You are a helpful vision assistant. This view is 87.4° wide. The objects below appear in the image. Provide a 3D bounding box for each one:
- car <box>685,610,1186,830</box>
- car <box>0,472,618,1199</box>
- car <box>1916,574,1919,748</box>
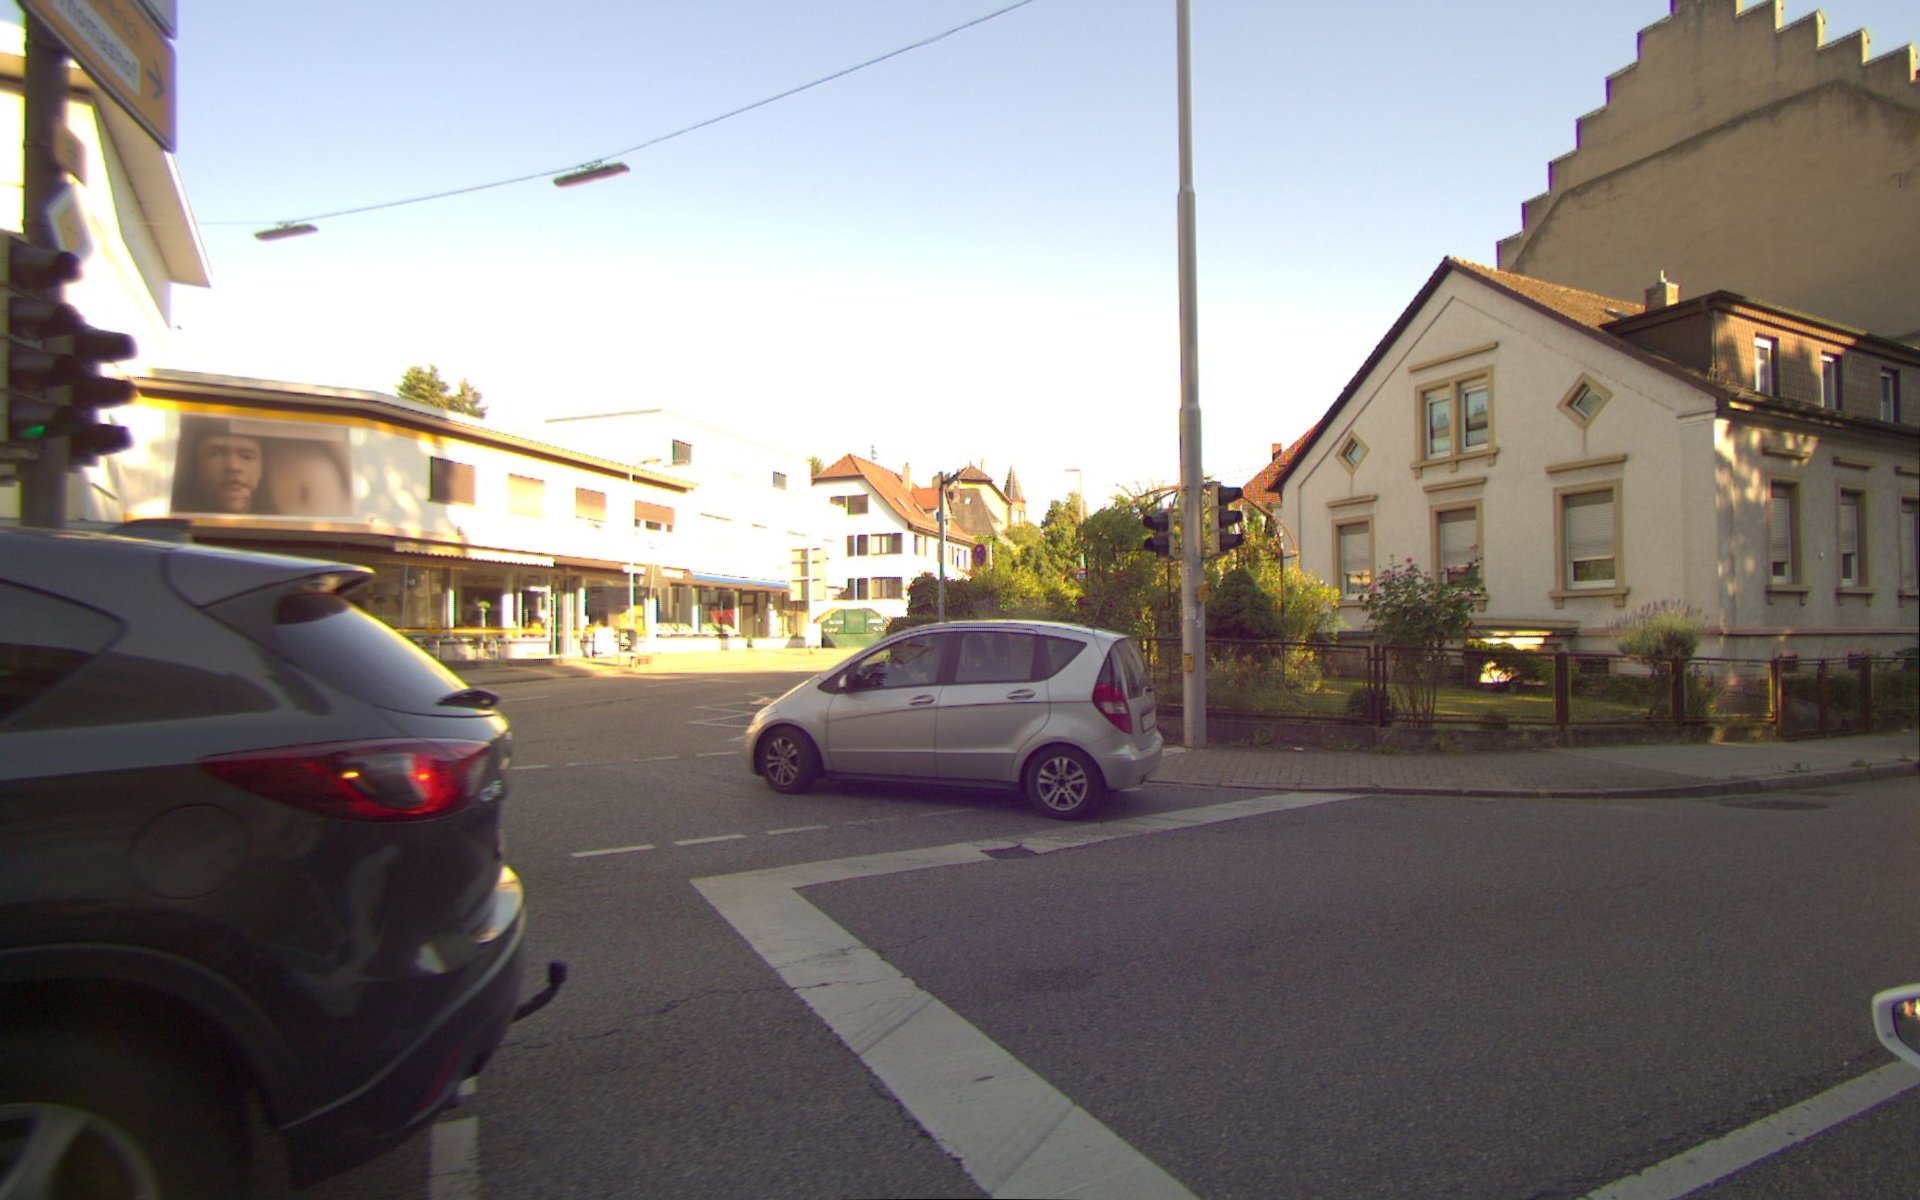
[{"bbox_3d":[-0.165,0.942,9.247,4.198,1.670,1.960,-1,-1,19],"label":"car"},{"bbox_3d":[-3.033,0.633,2.033,4.228,1.670,1.946,0,-1,-27],"label":"car"},{"bbox_3d":[16.856,0.910,14.895,5.936,2.493,2.060,1,-1,-27],"label":"car"}]
